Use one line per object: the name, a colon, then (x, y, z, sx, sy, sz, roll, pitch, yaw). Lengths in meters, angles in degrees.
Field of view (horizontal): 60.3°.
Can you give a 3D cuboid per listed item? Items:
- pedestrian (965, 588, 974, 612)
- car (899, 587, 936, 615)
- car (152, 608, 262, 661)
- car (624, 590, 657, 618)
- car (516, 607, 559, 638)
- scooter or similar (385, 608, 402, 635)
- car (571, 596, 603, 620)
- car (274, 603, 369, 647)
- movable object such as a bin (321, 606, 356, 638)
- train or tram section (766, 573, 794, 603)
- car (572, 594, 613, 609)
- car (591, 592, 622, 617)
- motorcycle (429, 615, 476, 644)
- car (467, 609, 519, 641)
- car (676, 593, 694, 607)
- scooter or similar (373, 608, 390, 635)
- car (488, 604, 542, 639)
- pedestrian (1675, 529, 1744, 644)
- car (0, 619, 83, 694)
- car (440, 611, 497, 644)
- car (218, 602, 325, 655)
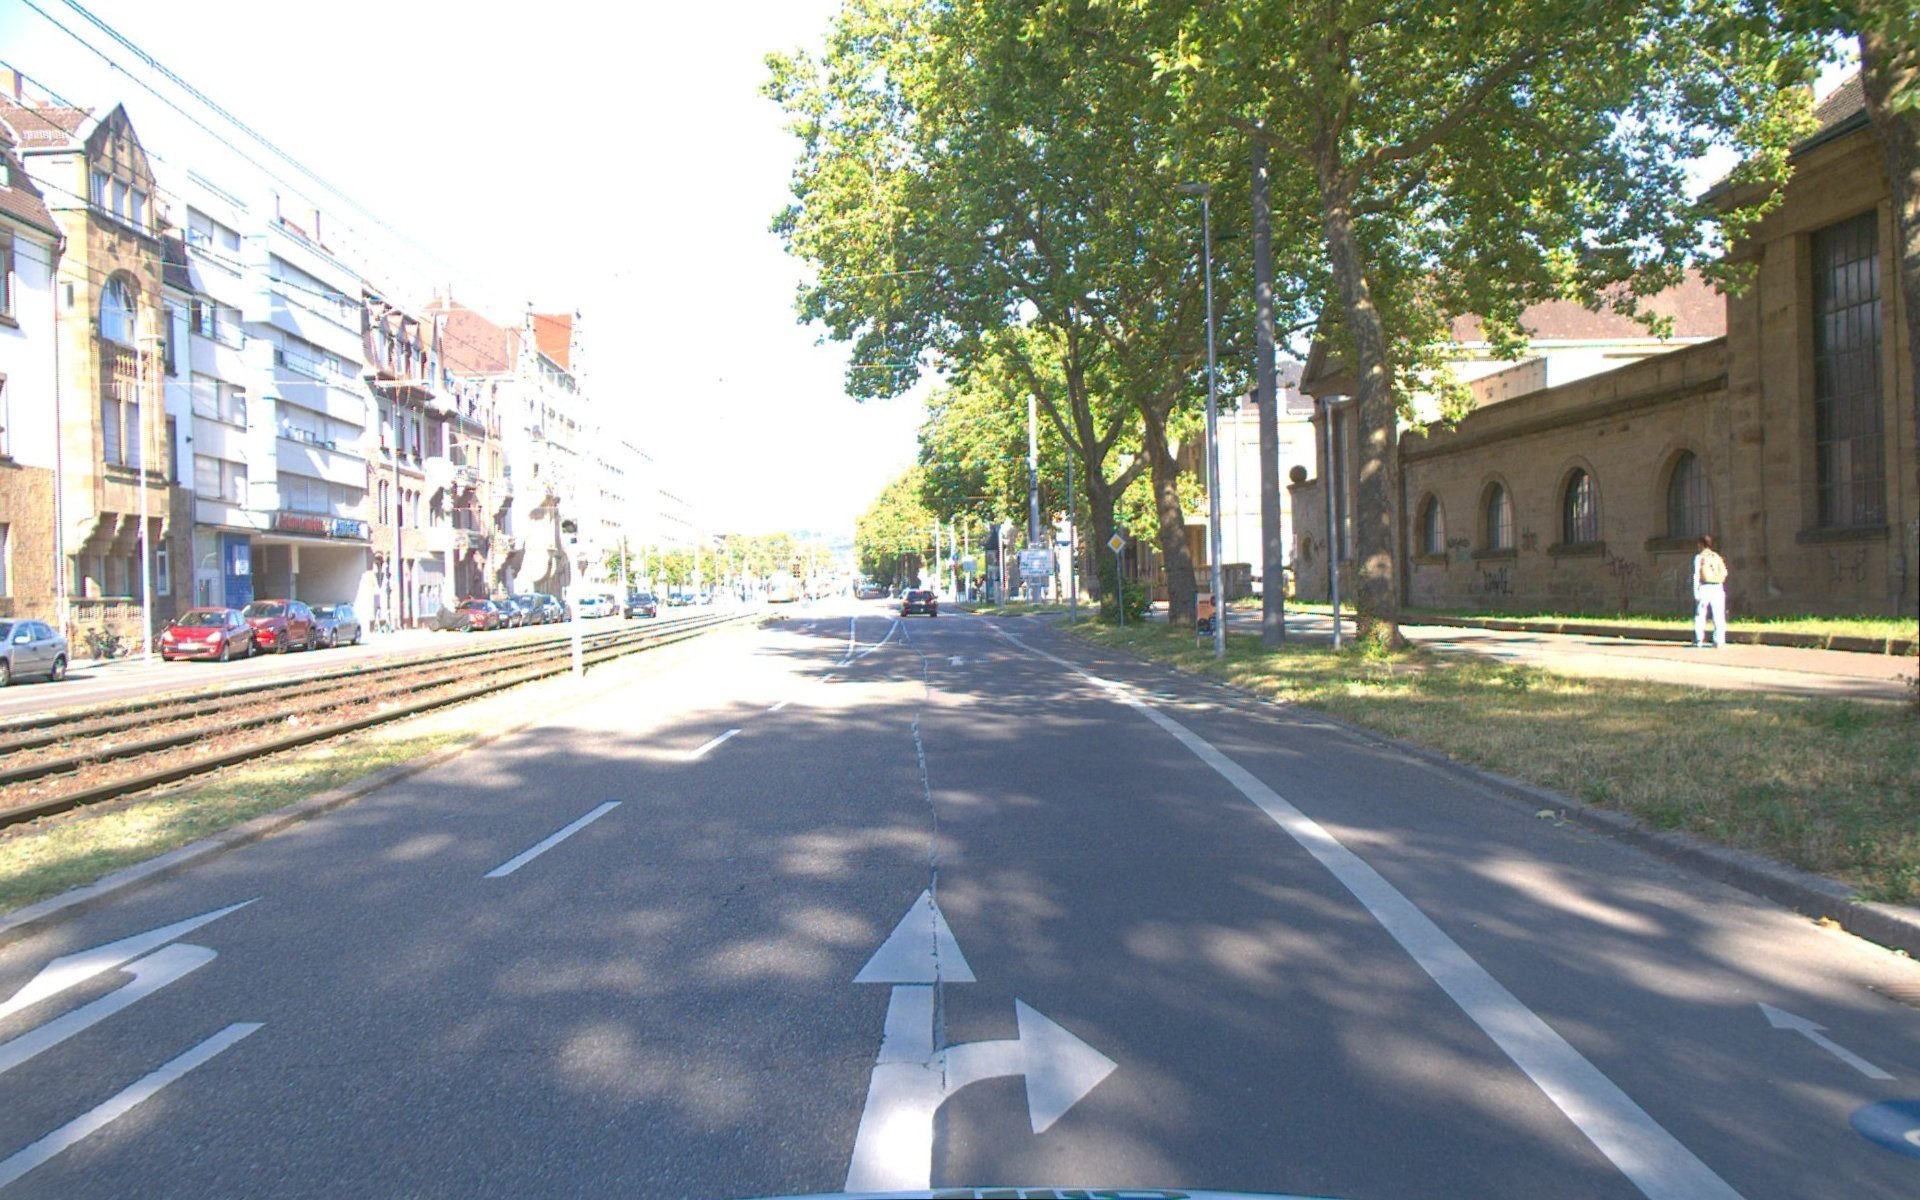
pedestrian: (0.688, 0.004, 122.038, 0.575, 1.758, 0.651, 0, 0, 9)
car: (-2.291, 0.047, 88.182, 1.797, 1.415, 4.156, -1, 0, -4)
car: (-21.846, 0.971, 48.149, 1.799, 1.415, 4.028, 1, 0, -8)
car: (-20.205, 0.261, 104.774, 1.604, 1.629, 4.154, -3, 1, -5)
car: (-24.785, 1.305, 97.082, 1.653, 1.681, 4.196, 1, 0, -4)
scooter or similar: (-26.330, 1.005, 76.879, 0.383, 1.226, 1.199, 1, 0, -3)
car: (-25.844, 0.527, 114.656, 1.760, 1.536, 3.993, 1, 0, -8)
car: (-22.555, 0.847, 58.609, 1.797, 1.415, 4.678, -1, 0, -4)
movable object such as a bin: (-28.247, 0.993, 75.207, 1.385, 1.395, 0.634, -1, 0, -10)
train or tram section: (-21.981, -1.441, 202.580, 2.769, 3.511, 9.058, -2, 1, -3)
car: (-37.547, 0.193, 169.013, 3.913, 1.537, 1.796, 0, 0, -9)
car: (-26.868, 0.331, 125.727, 1.759, 1.749, 4.181, 1, 0, -5)
motorcycle: (-23.909, 1.385, 77.916, 2.036, 1.350, 0.836, 1, 0, -19)
car: (-24.321, 1.296, 86.324, 1.759, 1.536, 3.997, 1, 0, -4)
car: (-31.892, 0.034, 192.032, 1.760, 1.536, 3.995, -2, 1, -6)
scooter or similar: (-26.886, 0.994, 76.915, 0.383, 1.226, 1.199, 1, 0, -3)
car: (-24.542, 1.149, 91.390, 1.758, 1.784, 4.454, 1, 0, -1)
pedestrian: (11.684, -0.210, 25.795, 0.596, 1.710, 0.635, -6, 1, -6)
car: (-21.080, 1.221, 36.321, 1.602, 1.494, 4.157, -1, 1, -3)
car: (-24.039, 1.310, 80.959, 1.759, 1.485, 4.263, 1, 0, -4)
car: (-22.181, 0.885, 53.466, 1.796, 1.585, 4.351, -1, 0, -2)
